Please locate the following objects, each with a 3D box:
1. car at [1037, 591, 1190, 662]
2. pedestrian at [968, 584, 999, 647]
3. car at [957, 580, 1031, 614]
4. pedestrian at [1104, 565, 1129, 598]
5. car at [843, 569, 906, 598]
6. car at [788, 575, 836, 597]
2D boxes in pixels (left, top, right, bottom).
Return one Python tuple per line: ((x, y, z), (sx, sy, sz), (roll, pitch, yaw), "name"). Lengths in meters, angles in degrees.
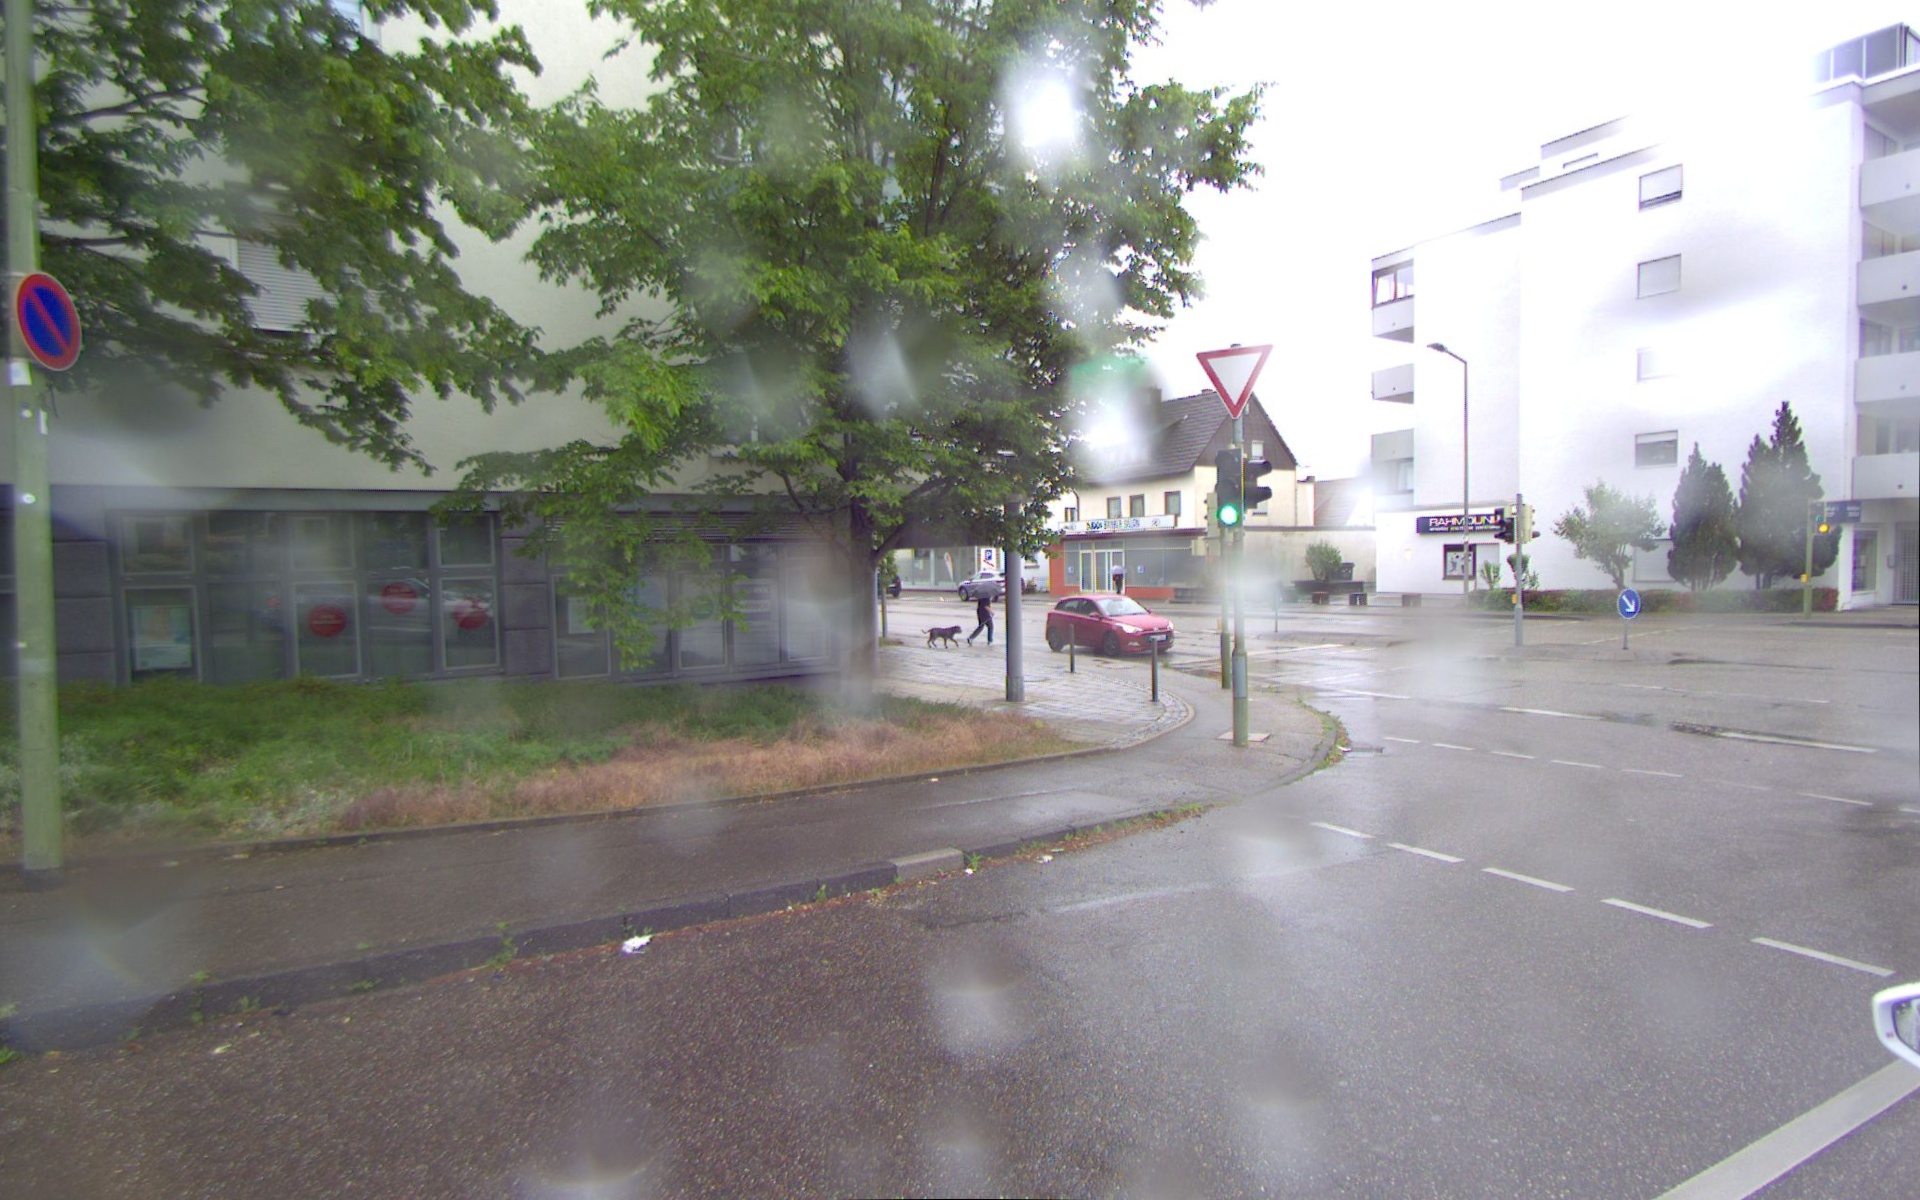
((3.878, 0.620, 26.014), (1.759, 1.527, 4.073), (-6, 3, -28), "car")
((0.636, 0.418, 27.925), (0.657, 1.725, 0.945), (-1, 2, -11), "pedestrian")
((1.836, -0.197, 56.367), (1.858, 1.665, 4.754), (-5, 3, -30), "car")
((7.655, -0.875, 49.097), (0.746, 1.589, 0.985), (-1, 1, -30), "pedestrian")
((-5.746, -1.095, 67.060), (2.020, 1.718, 4.917), (-6, 3, -33), "car")
((-11.046, -1.092, 74.772), (1.803, 1.468, 4.161), (-5, 4, -35), "car")
